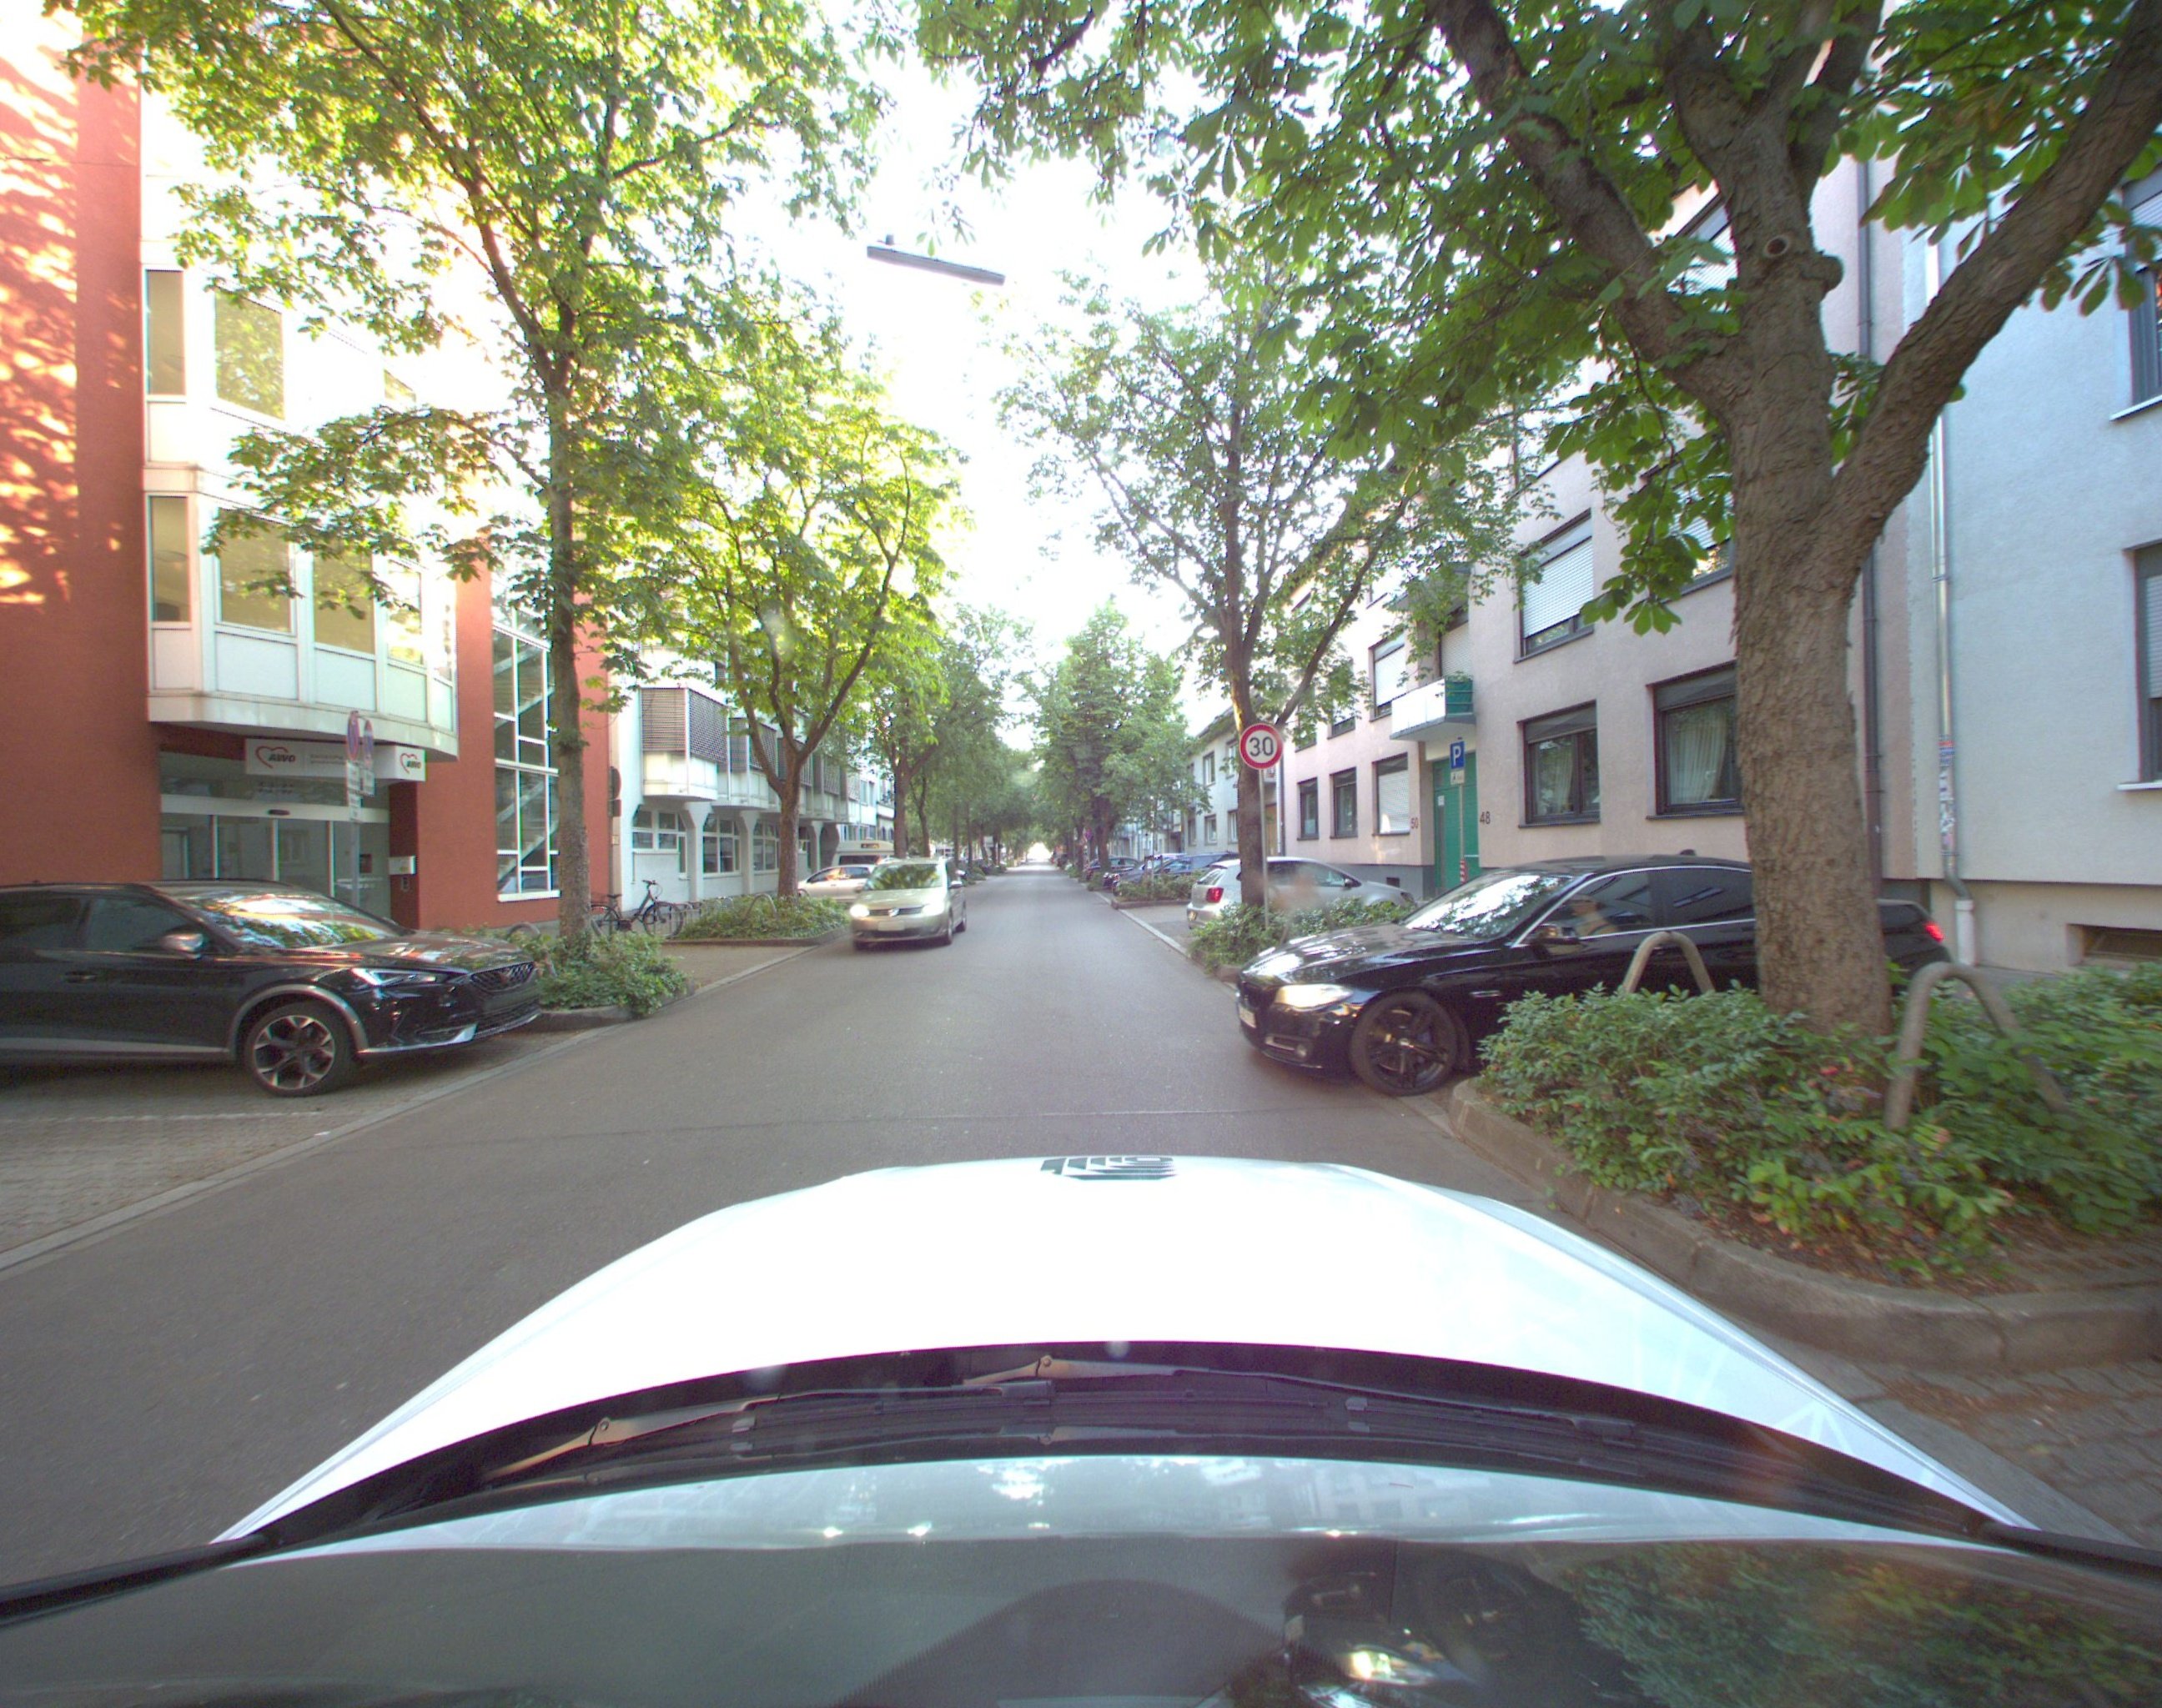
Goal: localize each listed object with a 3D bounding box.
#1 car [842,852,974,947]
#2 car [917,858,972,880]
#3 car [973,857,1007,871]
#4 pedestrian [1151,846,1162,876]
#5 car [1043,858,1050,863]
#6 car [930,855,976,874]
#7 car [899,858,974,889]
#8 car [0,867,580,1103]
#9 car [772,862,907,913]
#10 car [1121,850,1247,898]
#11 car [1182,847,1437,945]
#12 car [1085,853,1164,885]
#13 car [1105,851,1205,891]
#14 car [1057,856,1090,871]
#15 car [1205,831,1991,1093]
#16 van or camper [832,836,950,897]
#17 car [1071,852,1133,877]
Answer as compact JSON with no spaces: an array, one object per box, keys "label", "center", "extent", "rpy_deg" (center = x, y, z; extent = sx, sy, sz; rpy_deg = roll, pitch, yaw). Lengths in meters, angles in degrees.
[{"label":"car","center":[-3.228,0.779,15.992],"extent":[1.774,1.562,4.165],"rpy_deg":[-2,0,-2]},{"label":"car","center":[-10.590,1.162,63.406],"extent":[3.957,1.619,1.784],"rpy_deg":[-2,0,-2]},{"label":"car","center":[-11.292,1.209,100.944],"extent":[3.957,1.619,1.784],"rpy_deg":[-2,0,-2]},{"label":"pedestrian","center":[5.158,0.453,55.643],"extent":[0.587,2.013,0.669],"rpy_deg":[-1,0,-2]},{"label":"car","center":[-9.897,1.846,234.205],"extent":[1.818,1.531,3.997],"rpy_deg":[-1,0,-2]},{"label":"car","center":[-11.797,0.982,75.095],"extent":[3.957,1.619,1.784],"rpy_deg":[-2,0,-2]},{"label":"car","center":[-8.254,1.110,46.779],"extent":[3.958,1.619,1.784],"rpy_deg":[-2,0,-2]},{"label":"car","center":[-6.812,0.939,6.553],"extent":[4.345,1.517,1.783],"rpy_deg":[-2,0,-3]},{"label":"car","center":[-8.050,1.095,27.418],"extent":[3.958,1.517,1.784],"rpy_deg":[-2,0,-2]},{"label":"car","center":[3.439,0.654,27.749],"extent":[3.961,1.476,1.782],"rpy_deg":[-2,0,-5]},{"label":"car","center":[3.847,0.677,14.102],"extent":[3.902,1.476,1.662],"rpy_deg":[-2,0,-5]},{"label":"car","center":[2.254,0.787,43.140],"extent":[3.960,1.527,1.783],"rpy_deg":[-2,0,-4]},{"label":"car","center":[3.063,0.697,34.267],"extent":[3.960,1.527,1.783],"rpy_deg":[-2,0,-4]},{"label":"car","center":[-0.914,1.184,99.250],"extent":[3.957,1.684,1.784],"rpy_deg":[-2,0,-2]},{"label":"car","center":[3.447,0.658,6.015],"extent":[4.734,1.480,1.798],"rpy_deg":[-2,0,-3]},{"label":"van or camper","center":[-8.262,0.536,35.766],"extent":[4.653,2.478,1.998],"rpy_deg":[-2,0,-3]},{"label":"car","center":[1.397,0.722,55.079],"extent":[3.961,1.527,1.782],"rpy_deg":[-2,0,-5]}]
